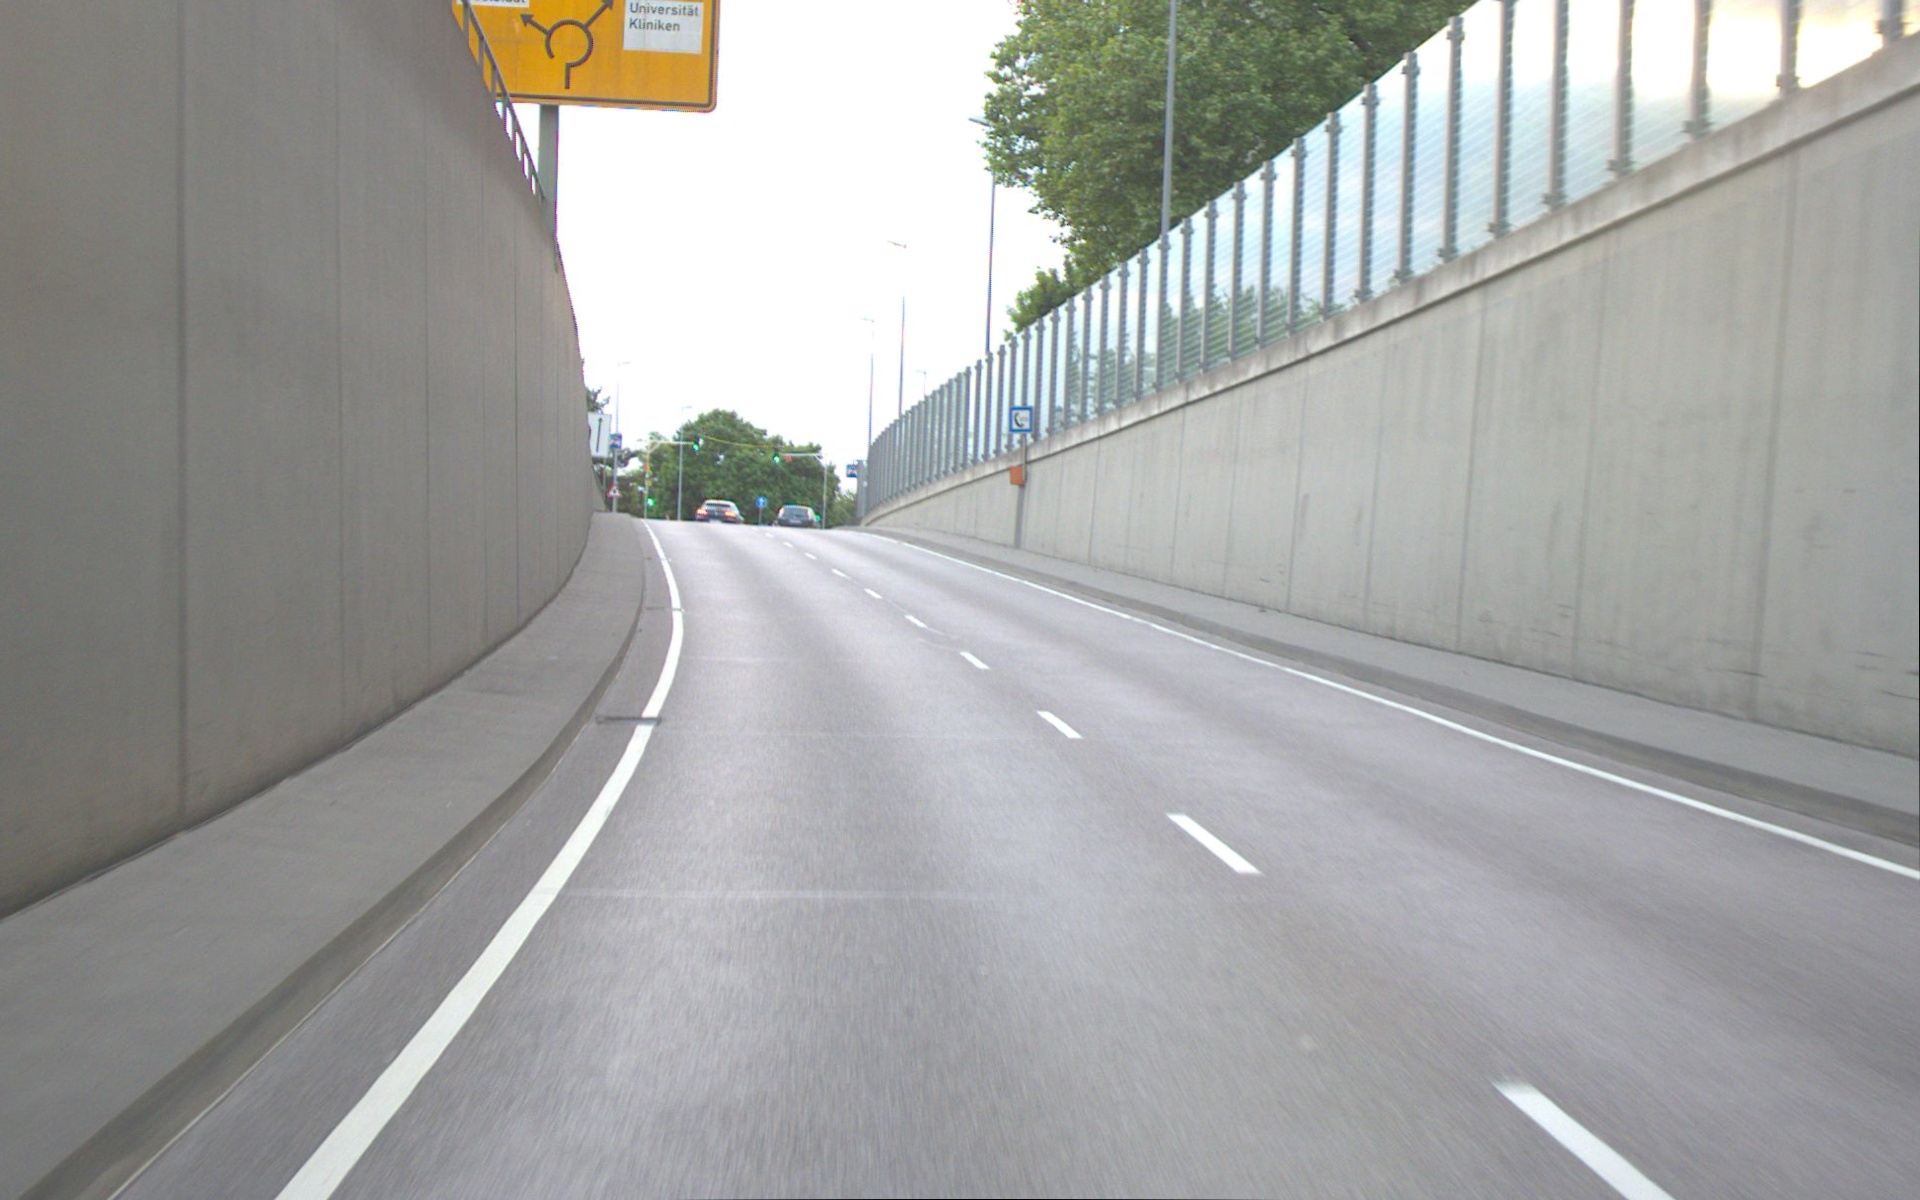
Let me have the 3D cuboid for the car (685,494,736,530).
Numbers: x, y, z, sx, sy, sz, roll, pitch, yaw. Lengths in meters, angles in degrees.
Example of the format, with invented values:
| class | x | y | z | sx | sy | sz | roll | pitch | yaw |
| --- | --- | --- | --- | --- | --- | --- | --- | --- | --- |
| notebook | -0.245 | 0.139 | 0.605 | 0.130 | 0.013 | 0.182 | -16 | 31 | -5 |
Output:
| class | x | y | z | sx | sy | sz | roll | pitch | yaw |
| --- | --- | --- | --- | --- | --- | --- | --- | --- | --- |
| car | -10.906 | -3.830 | 150.271 | 1.841 | 1.384 | 4.001 | 3 | 0 | -9 |

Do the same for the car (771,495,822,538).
| class | x | y | z | sx | sy | sz | roll | pitch | yaw |
| --- | --- | --- | --- | --- | --- | --- | --- | --- | --- |
| car | -7.296 | -3.701 | 153.208 | 1.869 | 1.726 | 4.001 | 3 | 0 | -7 |
